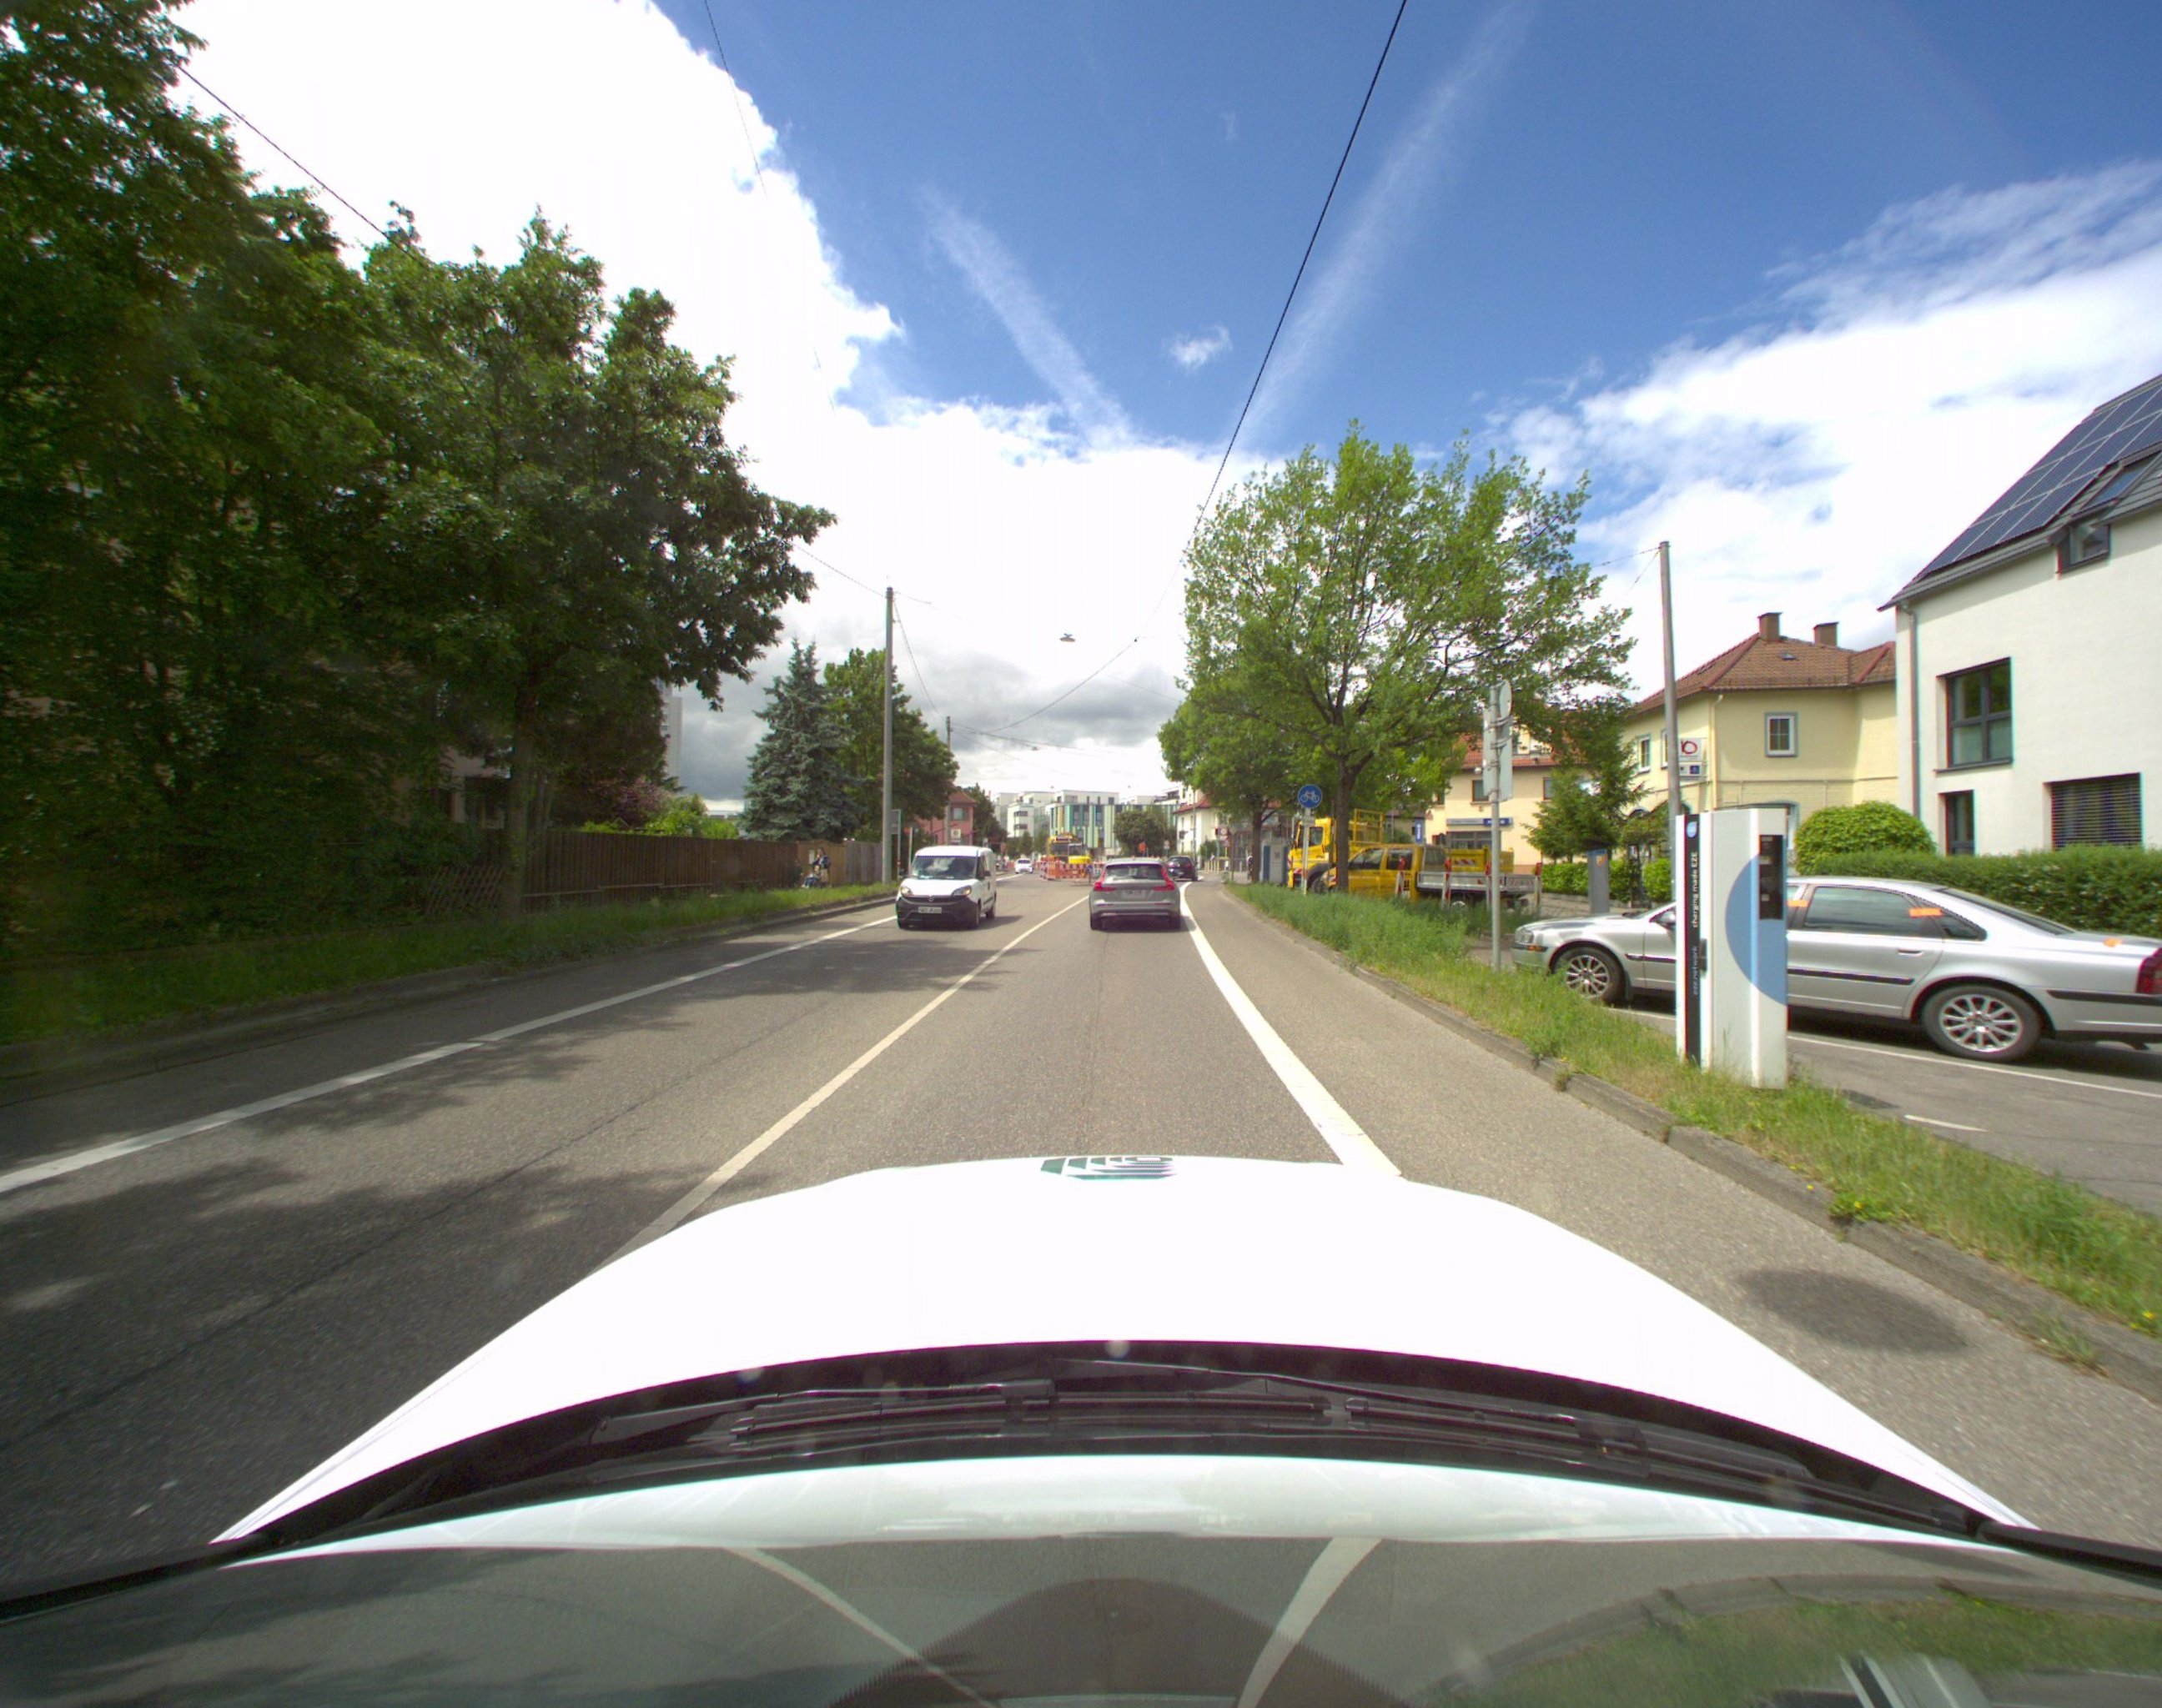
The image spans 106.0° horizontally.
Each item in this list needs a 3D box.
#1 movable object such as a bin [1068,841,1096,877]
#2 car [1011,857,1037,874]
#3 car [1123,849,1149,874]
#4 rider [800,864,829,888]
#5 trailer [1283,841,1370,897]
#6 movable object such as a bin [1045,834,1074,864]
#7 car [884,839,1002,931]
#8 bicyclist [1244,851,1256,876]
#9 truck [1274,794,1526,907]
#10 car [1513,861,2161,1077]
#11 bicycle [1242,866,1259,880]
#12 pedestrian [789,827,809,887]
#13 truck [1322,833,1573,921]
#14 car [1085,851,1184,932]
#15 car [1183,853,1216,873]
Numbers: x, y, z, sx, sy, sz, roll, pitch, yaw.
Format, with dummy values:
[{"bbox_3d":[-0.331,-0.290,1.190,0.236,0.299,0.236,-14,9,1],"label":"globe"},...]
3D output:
[{"bbox_3d":[0.075,0.362,62.176,2.028,2.643,5.939,0,0,0],"label":"movable object such as a bin"},{"bbox_3d":[-5.545,1.132,79.691,1.879,1.508,4.004,-2,-2,4],"label":"car"},{"bbox_3d":[4.882,0.691,71.962,1.983,2.014,4.007,3,-2,7],"label":"car"},{"bbox_3d":[-8.770,0.723,26.817,0.727,0.735,0.689,3,-2,-2],"label":"rider"},{"bbox_3d":[9.817,0.595,33.074,2.377,2.032,5.521,1,-1,6],"label":"trailer"},{"bbox_3d":[-2.334,-0.471,85.352,2.309,2.990,6.409,0,0,-8],"label":"movable object such as a bin"},{"bbox_3d":[-3.087,0.693,19.181,1.841,1.875,4.594,-1,-1,1],"label":"car"},{"bbox_3d":[10.591,0.591,51.026,0.587,1.559,0.566,3,-2,-3],"label":"bicyclist"},{"bbox_3d":[9.633,-0.081,25.175,2.785,3.008,6.625,4,-2,-43],"label":"truck"},{"bbox_3d":[6.992,0.850,7.874,1.778,1.452,4.632,2,0,-43],"label":"car"},{"bbox_3d":[10.571,1.178,50.850,0.593,0.812,1.752,3,-1,-3],"label":"bicycle"},{"bbox_3d":[-9.563,0.107,27.640,0.400,2.014,0.414,3,-2,2],"label":"pedestrian"},{"bbox_3d":[9.381,0.546,21.323,2.010,2.014,5.610,4,-2,-42],"label":"truck"},{"bbox_3d":[1.209,0.738,17.808,1.919,1.540,4.005,-1,0,5],"label":"car"},{"bbox_3d":[9.889,0.795,68.483,2.096,1.510,3.998,3,-2,-1],"label":"car"}]
